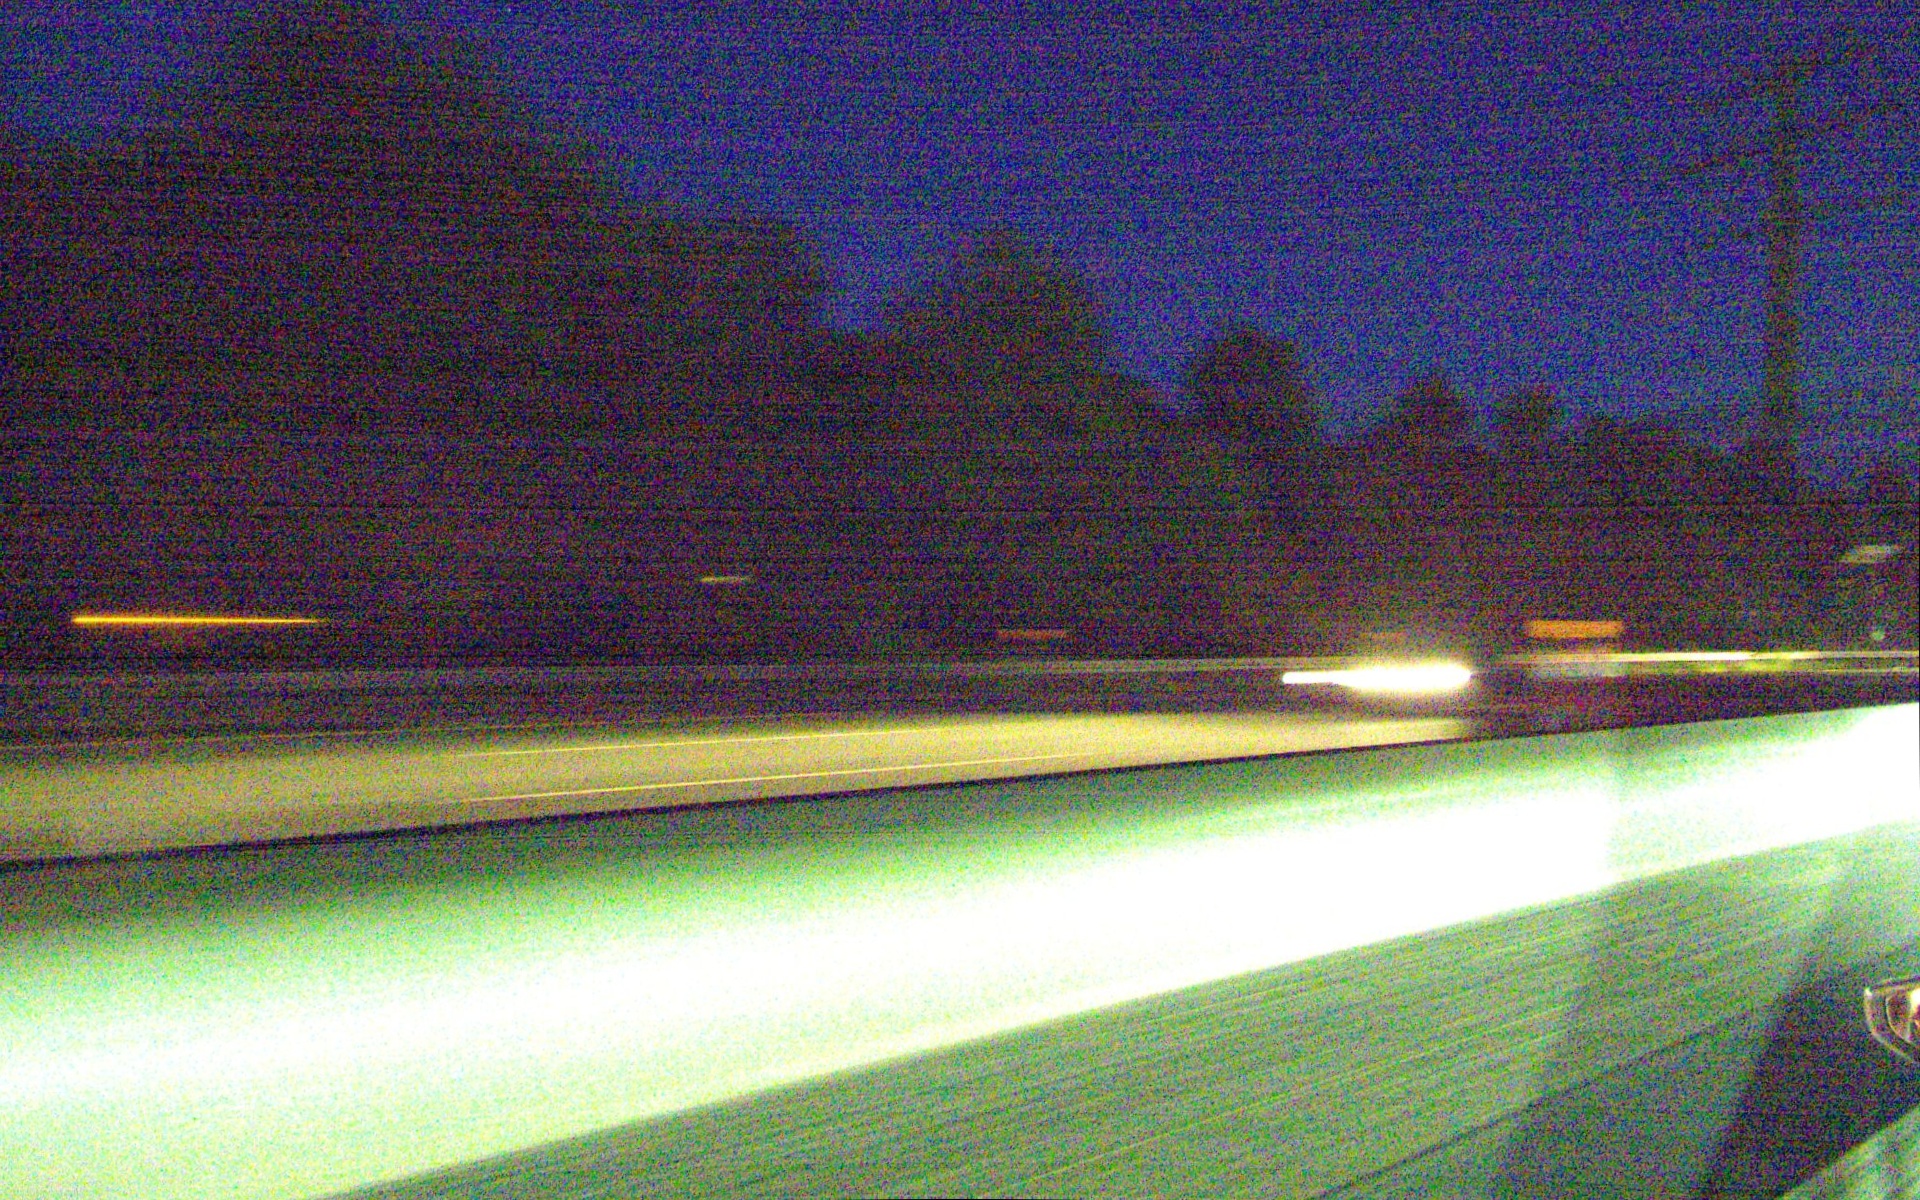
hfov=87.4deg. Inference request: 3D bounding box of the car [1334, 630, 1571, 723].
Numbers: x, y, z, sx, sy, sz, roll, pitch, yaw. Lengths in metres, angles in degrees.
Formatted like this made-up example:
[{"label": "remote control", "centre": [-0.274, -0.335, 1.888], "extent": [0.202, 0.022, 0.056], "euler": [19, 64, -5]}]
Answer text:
[{"label": "car", "centre": [8.977, 1.319, 18.211], "extent": [4.531, 1.498, 1.741], "euler": [1, -3, -32]}]
